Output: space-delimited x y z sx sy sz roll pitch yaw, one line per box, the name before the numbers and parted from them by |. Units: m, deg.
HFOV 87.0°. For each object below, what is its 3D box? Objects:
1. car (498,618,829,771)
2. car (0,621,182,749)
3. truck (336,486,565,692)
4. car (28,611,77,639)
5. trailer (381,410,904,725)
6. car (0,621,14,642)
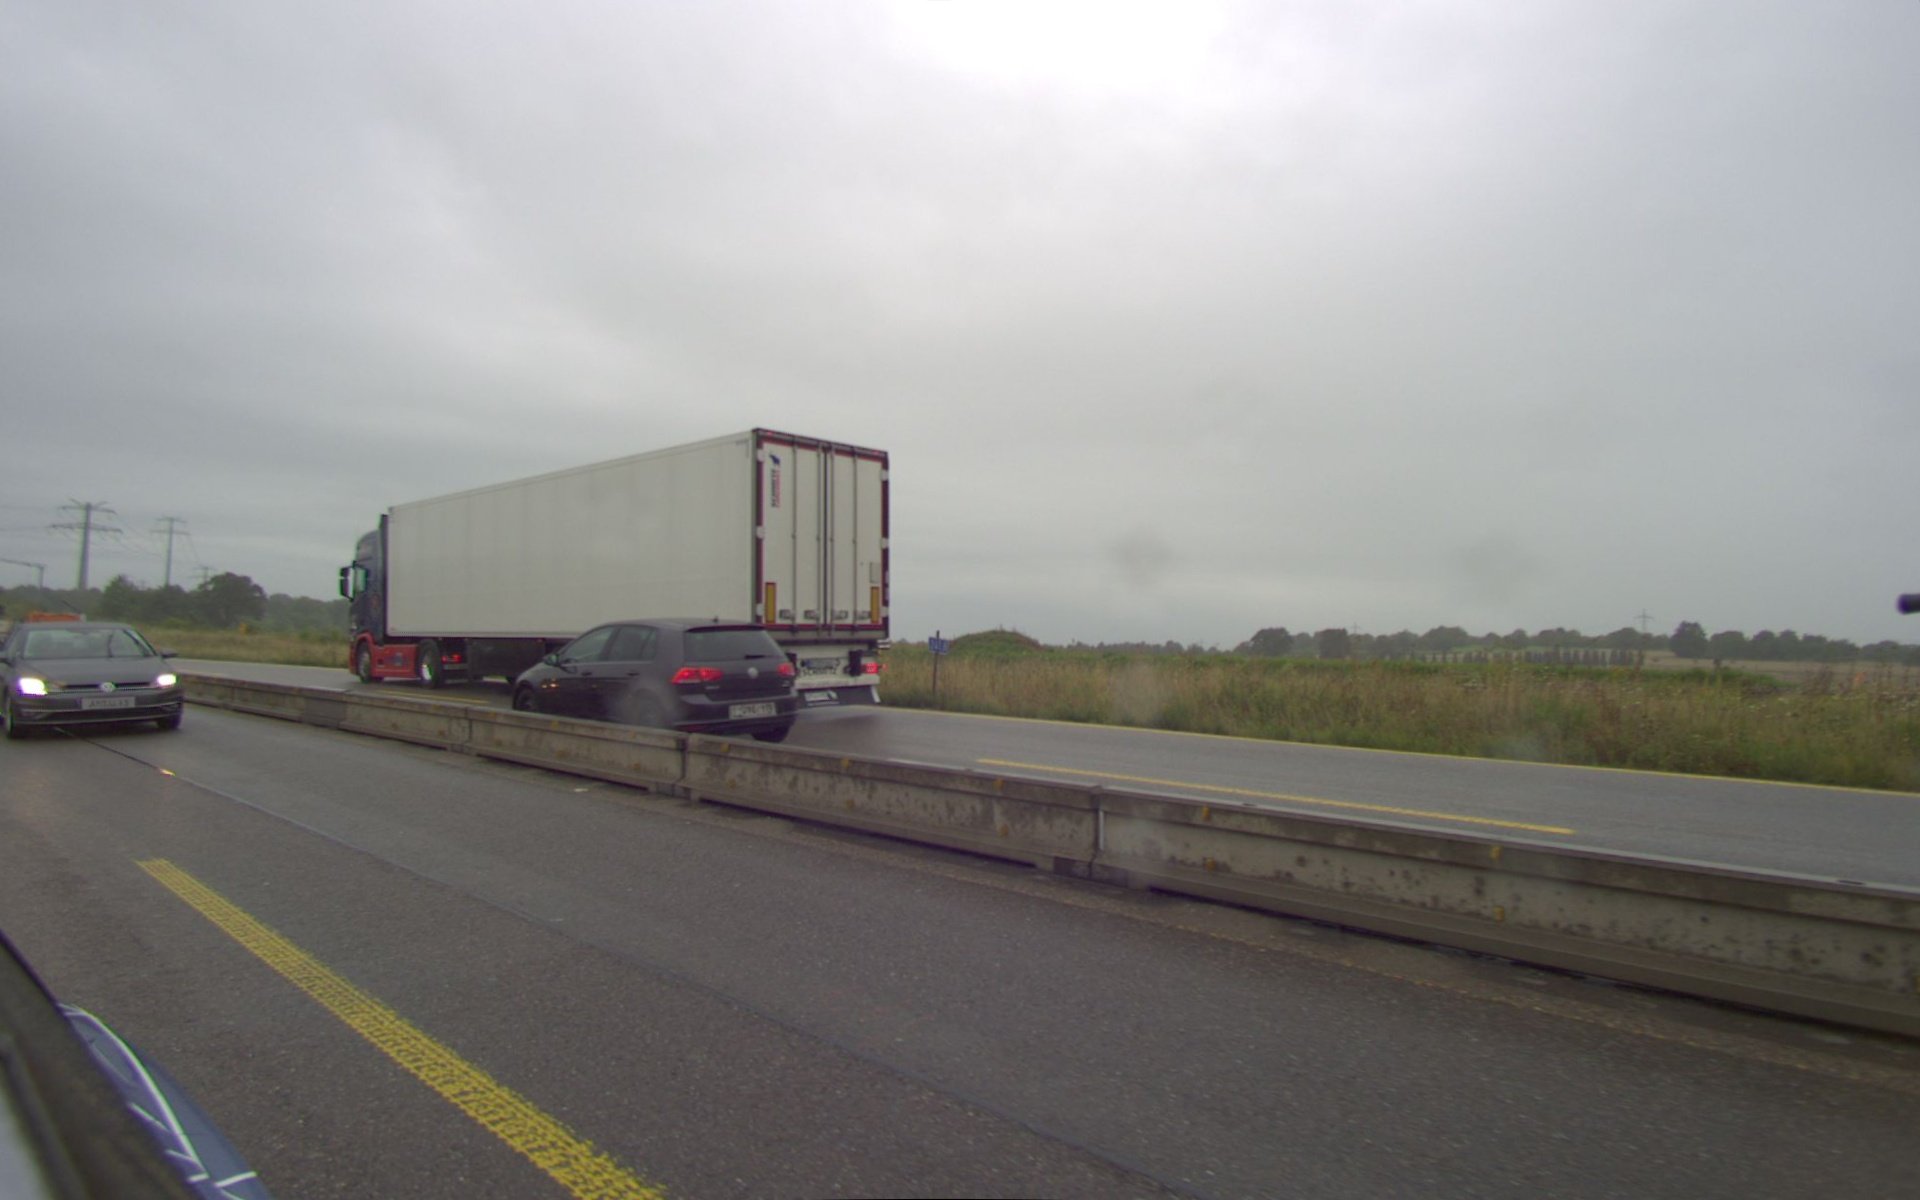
car | -3.484 0.926 11.517 4.089 1.431 1.700 -1 -1 41
car | -12.002 1.028 13.715 4.080 1.433 1.632 -1 -1 42
truck | -12.002 -0.150 23.651 5.904 4.213 2.757 -2 -2 41
car | -54.720 1.480 60.973 4.089 1.628 1.708 -1 -1 41
trailer | -6.889 -0.290 19.141 13.667 4.232 2.757 -1 -2 41
car | -78.274 2.544 82.206 4.090 1.628 1.707 -1 -1 42
